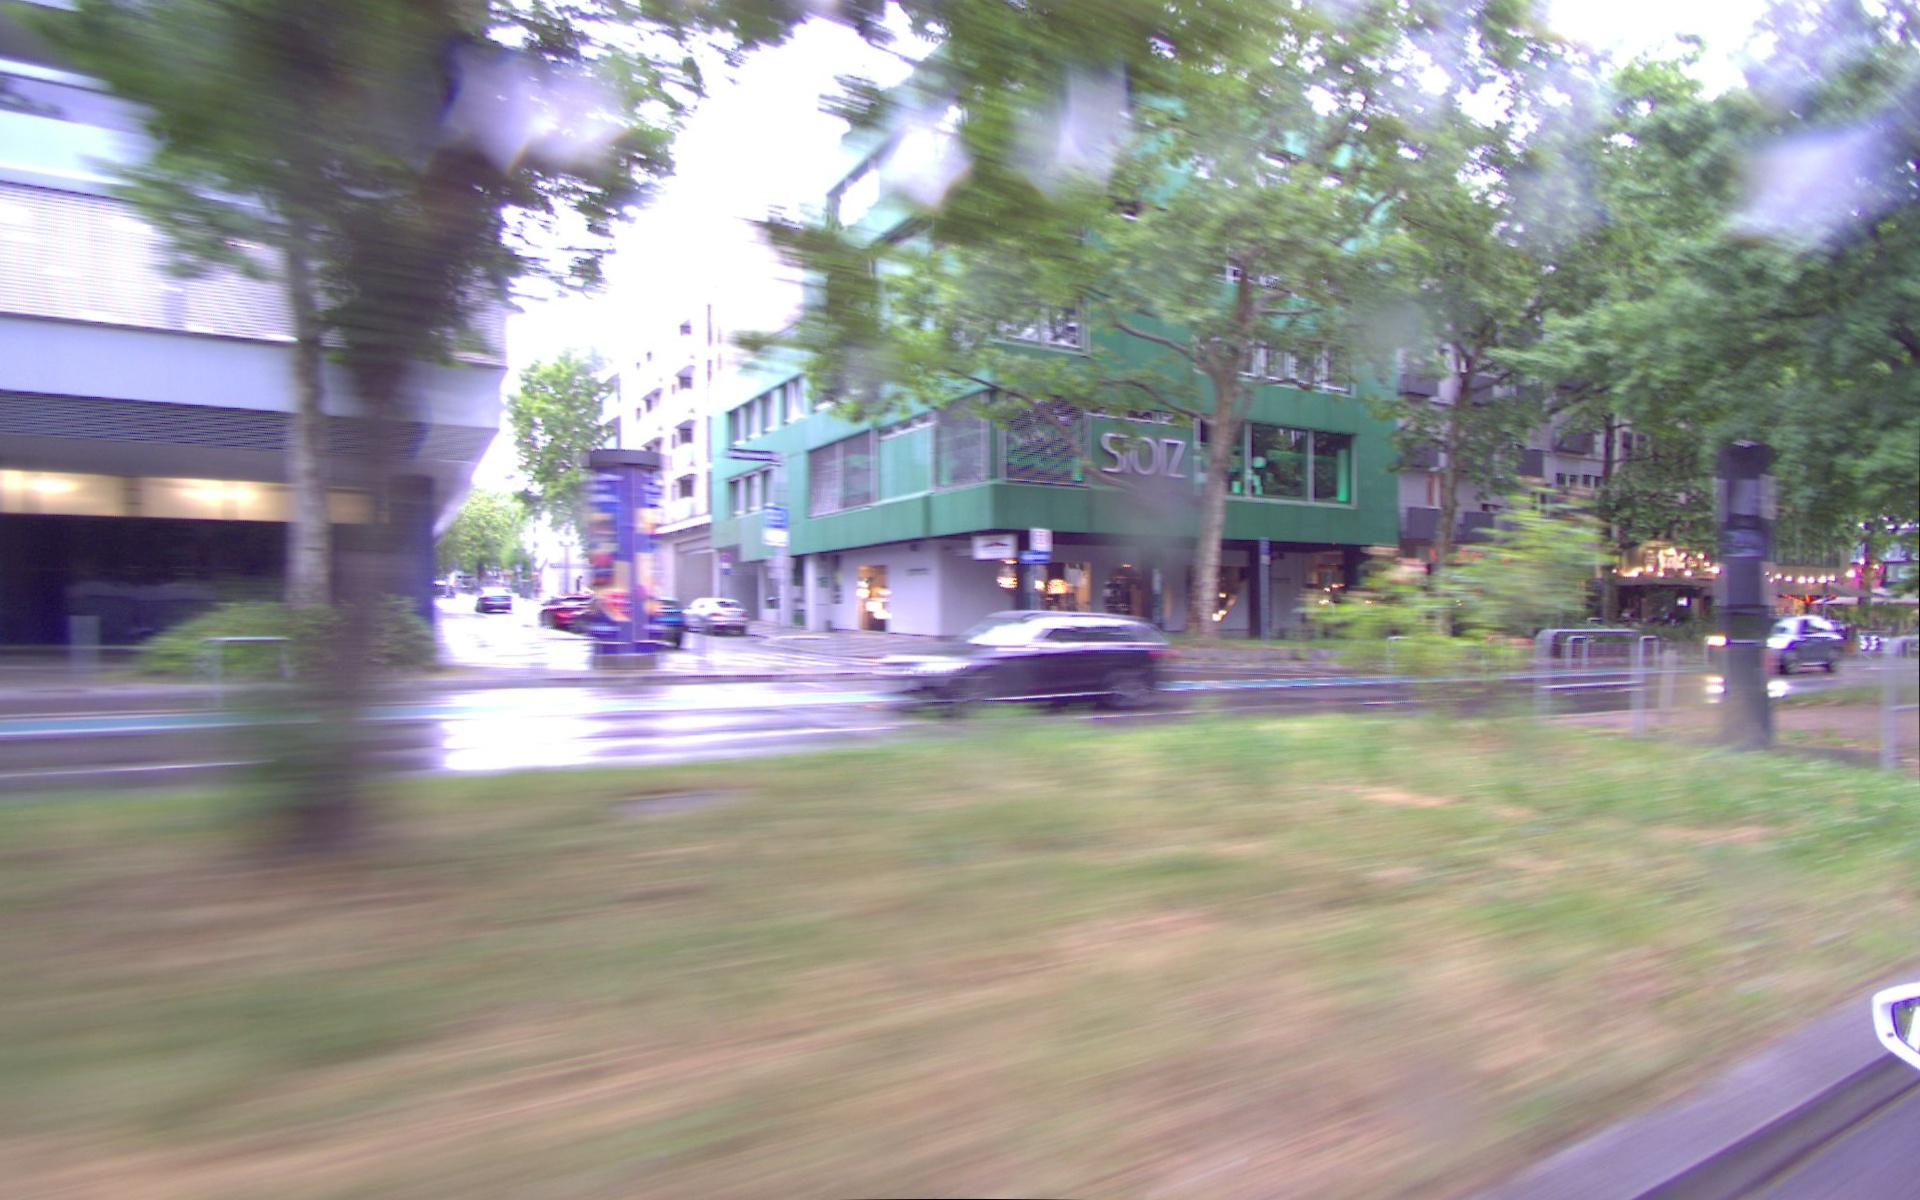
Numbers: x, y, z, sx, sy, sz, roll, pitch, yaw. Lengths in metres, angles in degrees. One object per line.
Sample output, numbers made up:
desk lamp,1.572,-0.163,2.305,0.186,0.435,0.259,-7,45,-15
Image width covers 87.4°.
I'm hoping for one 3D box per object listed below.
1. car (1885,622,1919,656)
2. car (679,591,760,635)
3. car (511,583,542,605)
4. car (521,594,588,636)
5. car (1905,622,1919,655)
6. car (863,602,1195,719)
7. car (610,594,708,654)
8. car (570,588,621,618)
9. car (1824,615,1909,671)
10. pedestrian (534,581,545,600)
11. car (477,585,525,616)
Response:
car,42.239,1.672,43.653,4.431,1.413,1.816,1,0,-31
car,-9.781,0.495,40.712,1.979,1.706,3.963,1,0,-33
car,-34.205,-0.502,79.281,1.686,1.591,3.823,2,0,-32
car,-16.553,0.611,40.839,1.976,1.561,4.967,1,-1,-29
car,41.671,1.646,43.003,2.662,1.406,1.045,1,-1,-30
car,1.088,0.828,15.243,4.697,1.512,1.985,1,1,-29
car,-9.772,0.727,32.327,1.975,1.715,4.967,-2,0,-29
car,-21.642,0.160,59.581,1.979,1.706,3.963,1,0,-33
car,29.186,1.324,32.290,4.410,1.648,1.702,1,0,-44
pedestrian,-36.944,-0.826,88.256,0.549,1.636,0.565,2,0,13
car,-26.474,-0.002,57.888,1.979,1.706,3.963,1,0,-33
